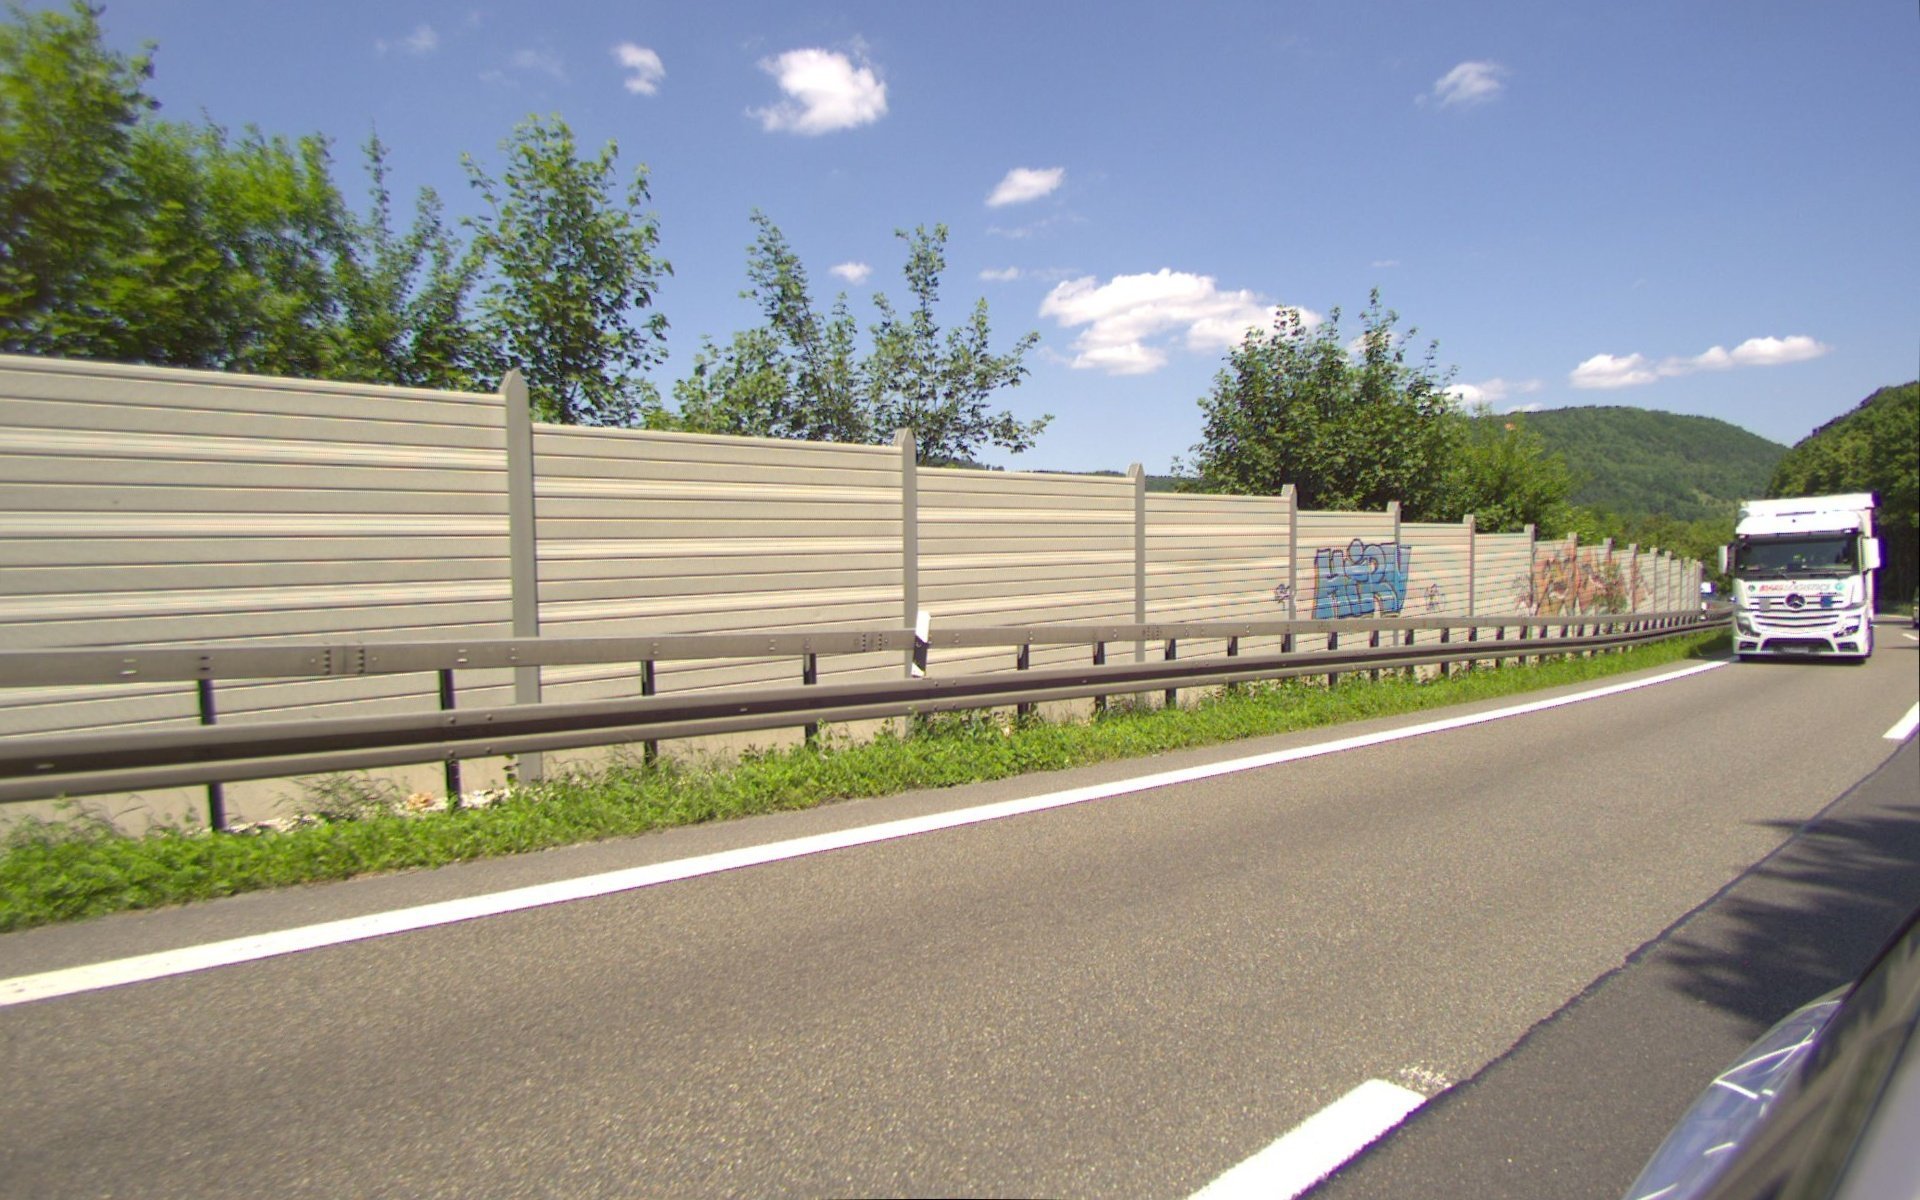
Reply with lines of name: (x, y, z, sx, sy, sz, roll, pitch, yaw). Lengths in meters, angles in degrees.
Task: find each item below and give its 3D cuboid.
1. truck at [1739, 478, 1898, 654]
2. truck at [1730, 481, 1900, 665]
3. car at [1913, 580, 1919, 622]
truck: (25.213, -0.861, 29.416, 2.854, 4.200, 11.857, 0, 0, 44)
truck: (21.932, -0.624, 25.810, 2.758, 4.090, 6.714, -1, 0, 45)
car: (43.632, 0.057, 44.540, 2.034, 1.889, 3.946, 1, 0, 37)
